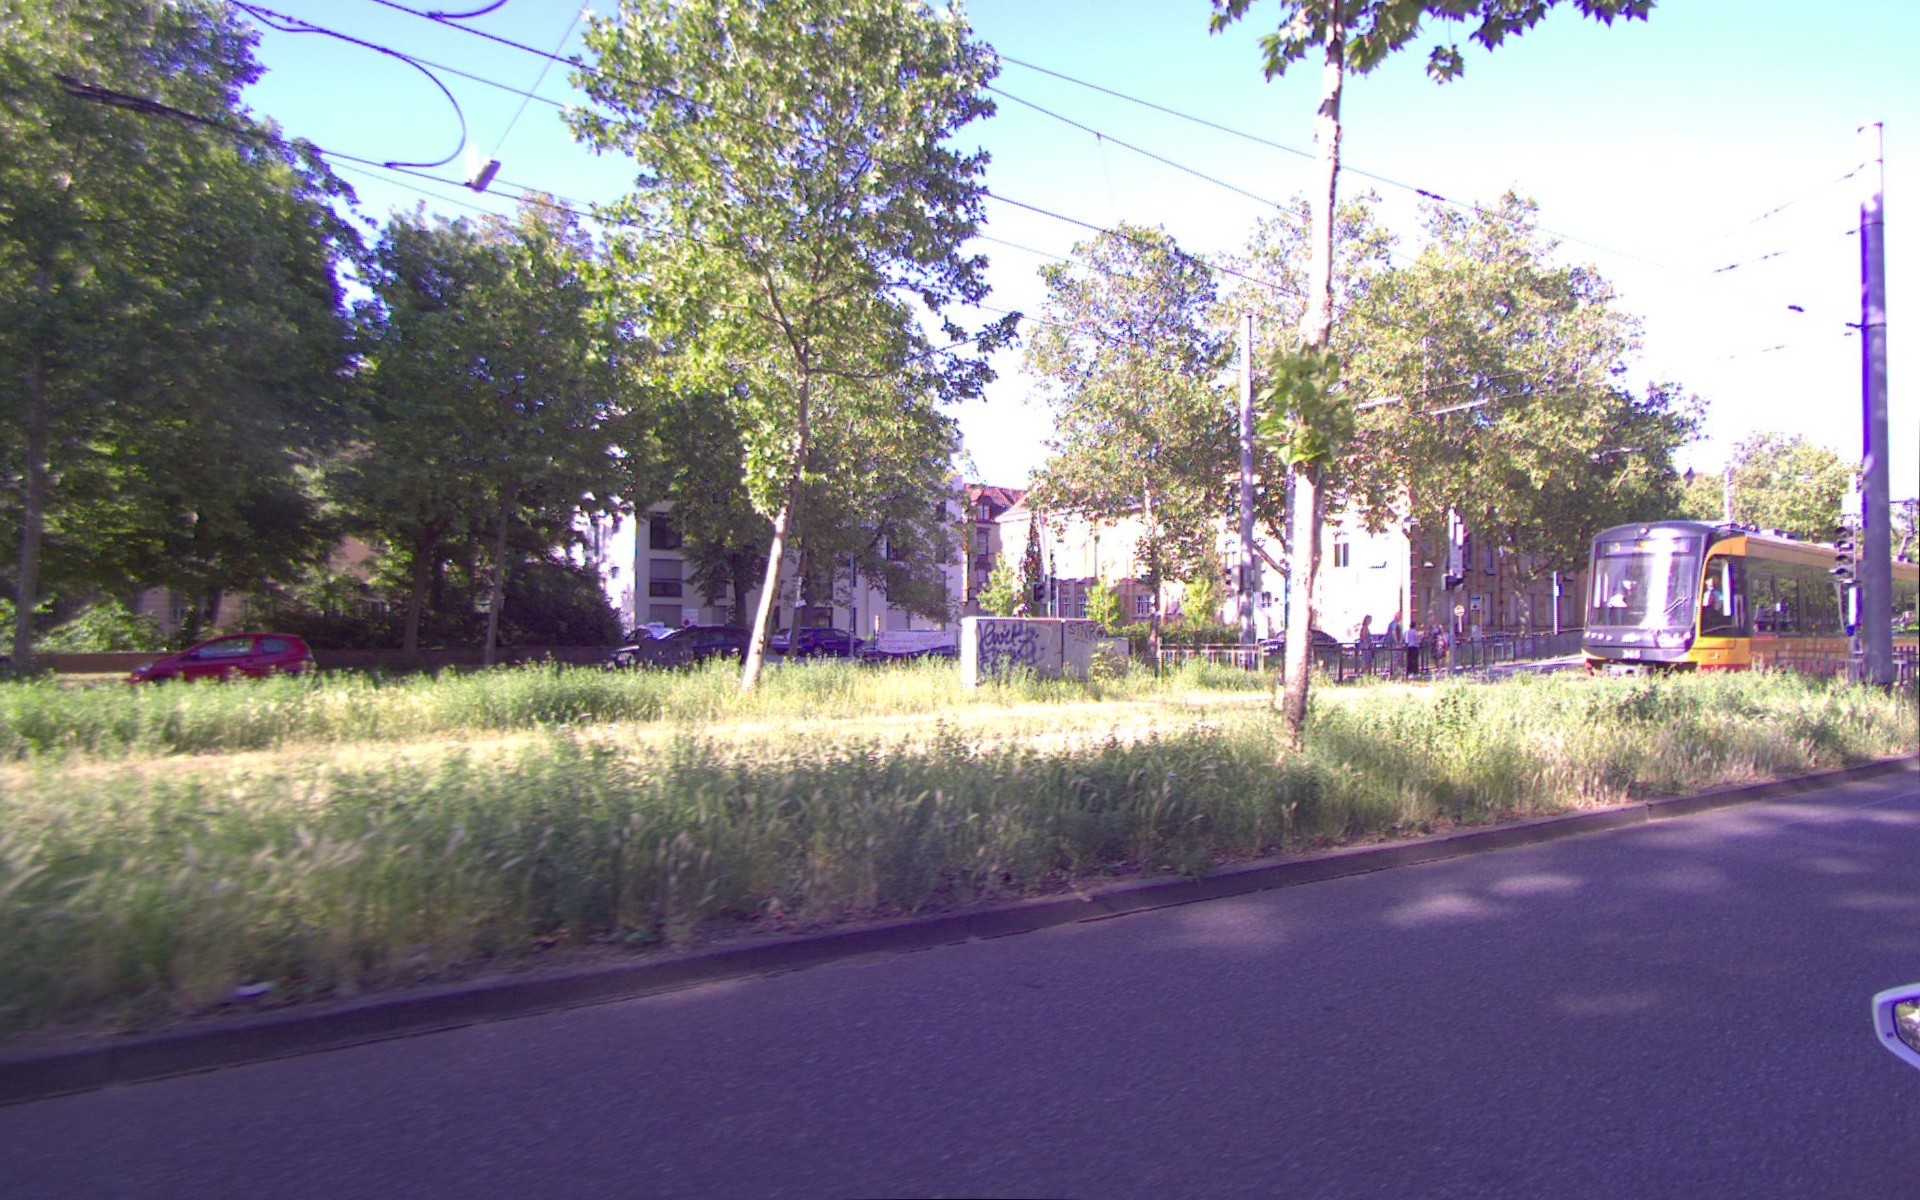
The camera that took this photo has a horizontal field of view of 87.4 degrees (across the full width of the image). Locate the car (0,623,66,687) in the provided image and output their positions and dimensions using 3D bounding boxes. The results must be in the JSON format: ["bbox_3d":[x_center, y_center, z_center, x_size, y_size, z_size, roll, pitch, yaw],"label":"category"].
[{"bbox_3d":[-19.749,1.061,19.583,3.330,1.244,1.396,2,-2,-38],"label":"car"}]

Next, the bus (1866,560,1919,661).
[{"bbox_3d":[37.532,0.487,37.827,11.500,3.489,2.849,2,-2,-37],"label":"bus"}]

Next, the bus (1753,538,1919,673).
[{"bbox_3d":[27.970,0.296,30.675,12.098,3.489,2.849,2,-2,-37],"label":"bus"}]

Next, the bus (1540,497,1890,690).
[{"bbox_3d":[17.905,0.050,23.197,13.091,3.489,2.849,2,-2,-37],"label":"bus"}]

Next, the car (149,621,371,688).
[{"bbox_3d":[-15.660,1.169,22.679,3.960,1.327,1.980,1,0,-35],"label":"car"}]

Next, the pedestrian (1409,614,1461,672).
[{"bbox_3d":[14.145,1.271,29.909,0.886,1.665,1.165,3,-2,-43],"label":"pedestrian"}]
